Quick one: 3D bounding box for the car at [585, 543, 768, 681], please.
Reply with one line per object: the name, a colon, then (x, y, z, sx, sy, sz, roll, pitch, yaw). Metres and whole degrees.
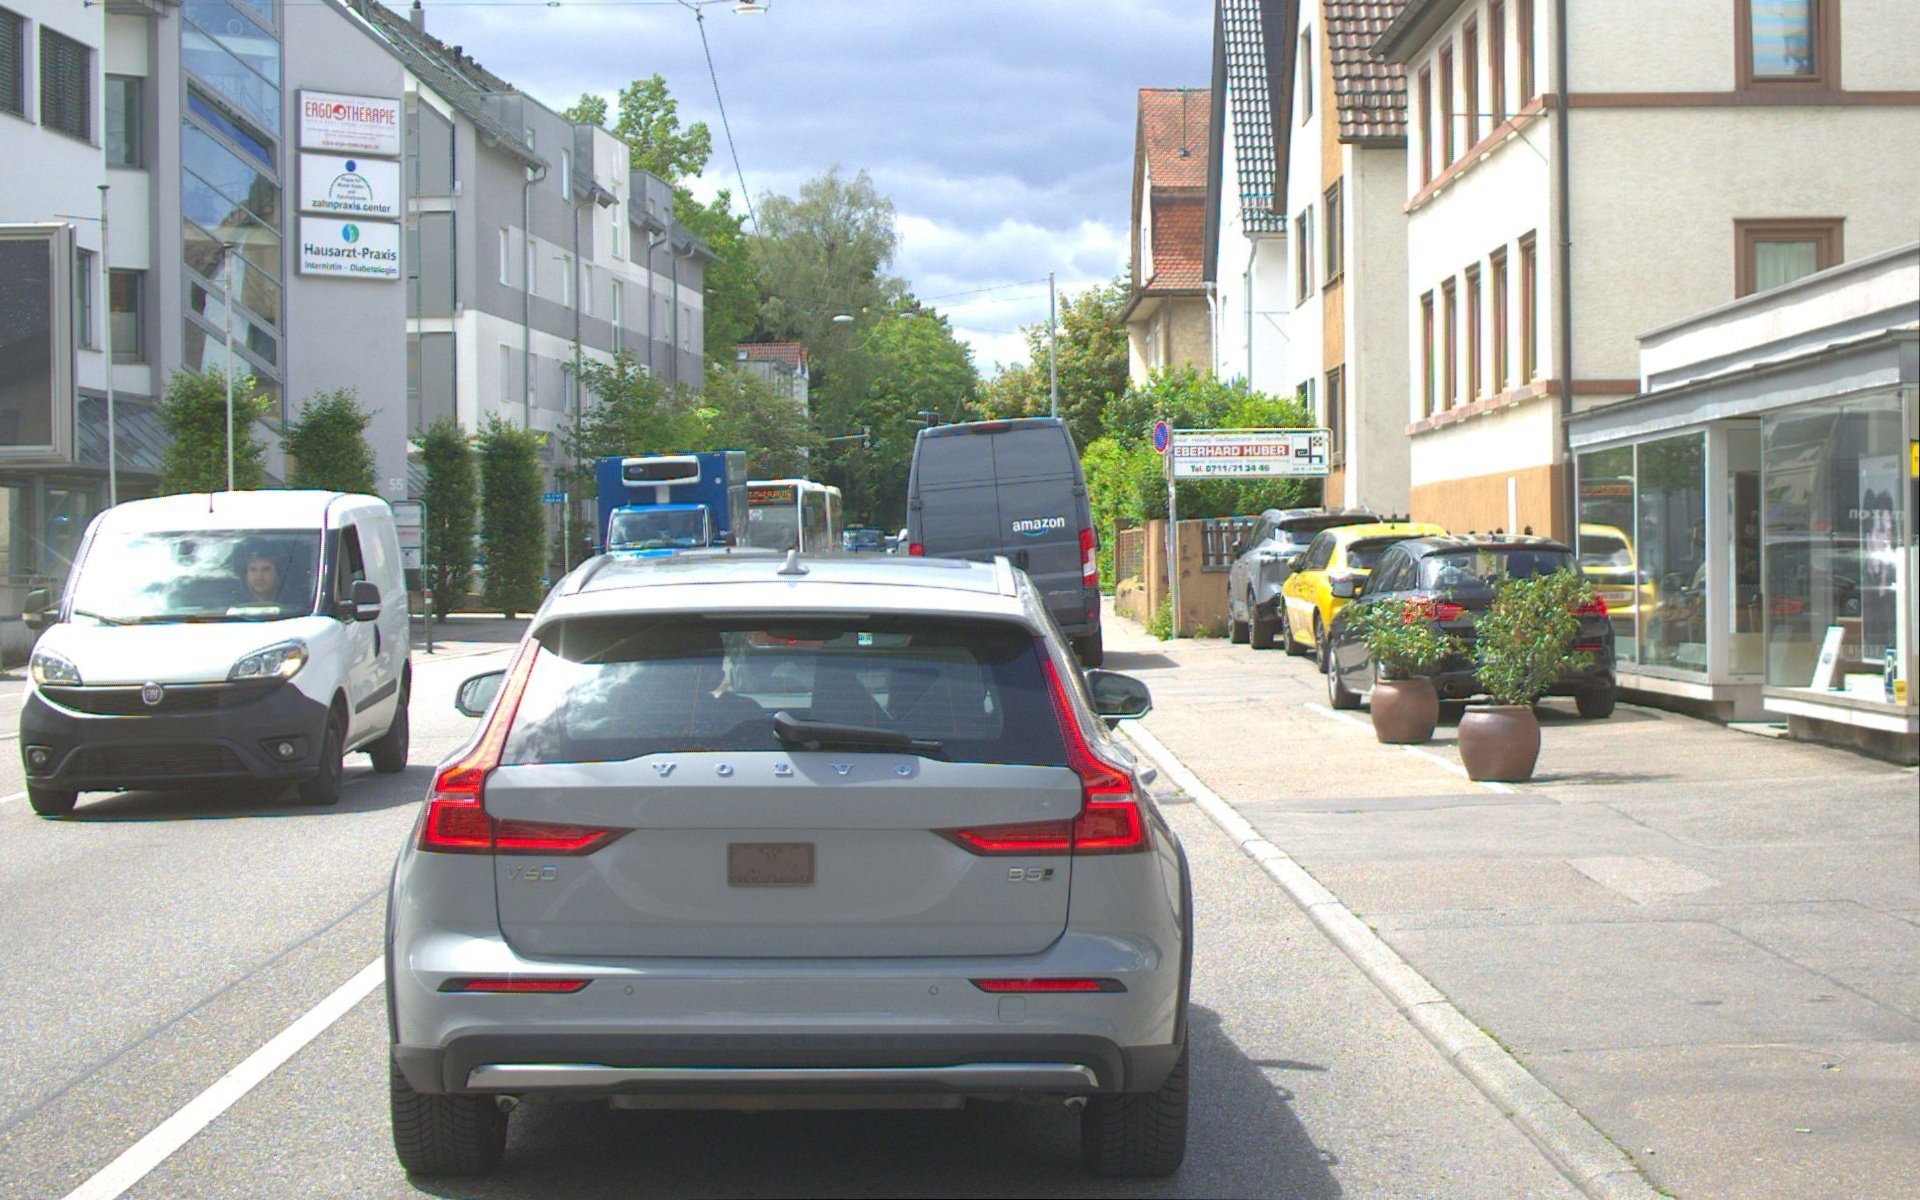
car: (-3.110, 0.095, 38.316, 1.896, 1.441, 3.969, 0, 1, -3)

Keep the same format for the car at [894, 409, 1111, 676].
car: (0.444, -0.664, 39.203, 2.252, 2.786, 5.569, -1, 1, 0)

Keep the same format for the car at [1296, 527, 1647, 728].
car: (4.004, 0.160, 27.673, 1.968, 1.442, 4.536, -1, 1, -2)

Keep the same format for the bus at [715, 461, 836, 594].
bus: (-4.623, -1.840, 87.881, 2.682, 3.153, 10.185, -1, 1, -1)

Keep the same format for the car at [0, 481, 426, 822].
car: (-4.515, 0.238, 20.704, 1.945, 1.814, 4.279, -1, 1, -1)

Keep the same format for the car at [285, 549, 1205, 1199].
car: (-0.398, 0.606, 9.078, 1.896, 1.448, 3.968, 0, 1, 1)

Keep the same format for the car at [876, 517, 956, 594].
car: (-1.173, -1.216, 92.879, 1.993, 2.007, 4.000, 0, 1, 1)

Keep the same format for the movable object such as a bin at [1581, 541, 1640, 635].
movable object such as a bin: (6.455, -0.123, 34.126, 0.501, 0.922, 0.598, -1, 1, 4)

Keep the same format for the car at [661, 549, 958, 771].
car: (-0.999, 0.370, 24.766, 1.896, 1.441, 3.968, 0, 1, 1)

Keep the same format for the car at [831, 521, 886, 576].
car: (-4.025, -2.071, 136.873, 2.105, 2.114, 4.766, -1, 1, -1)

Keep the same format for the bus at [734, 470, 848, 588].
bus: (-4.701, -1.999, 97.039, 2.716, 3.153, 8.069, -1, 1, 0)

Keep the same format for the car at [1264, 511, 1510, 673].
car: (4.424, -0.136, 36.179, 1.877, 1.442, 4.308, -1, 3, -2)

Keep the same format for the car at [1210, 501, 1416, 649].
car: (4.141, -0.332, 40.965, 1.860, 1.606, 4.586, -2, 1, -1)

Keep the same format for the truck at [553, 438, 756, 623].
truck: (-5.394, -1.236, 62.043, 2.853, 3.082, 8.089, -1, 1, 0)
